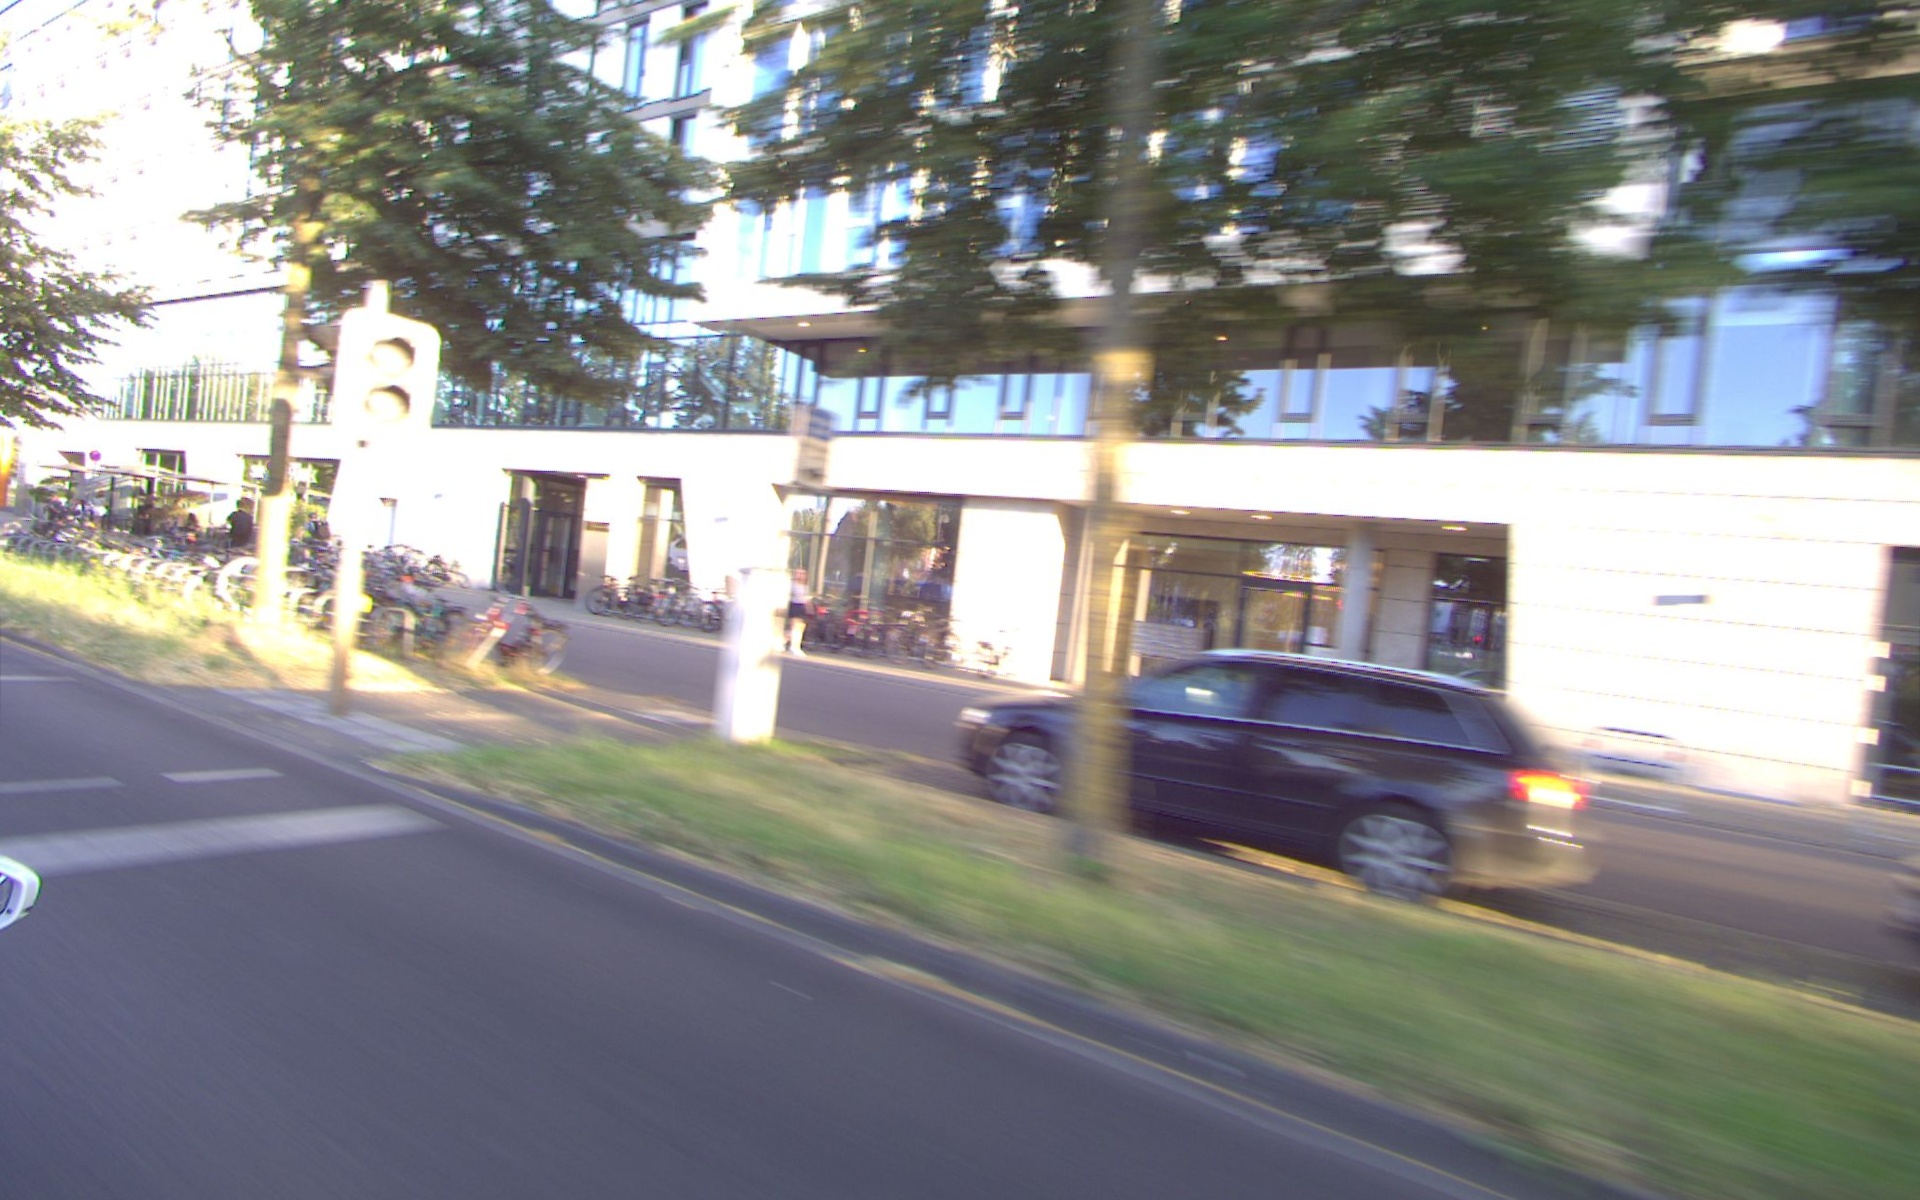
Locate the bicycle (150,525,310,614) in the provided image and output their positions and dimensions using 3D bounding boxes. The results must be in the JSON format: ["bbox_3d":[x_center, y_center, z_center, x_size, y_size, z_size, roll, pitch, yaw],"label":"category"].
[{"bbox_3d":[-11.270,-0.441,15.624,0.407,1.065,1.950,7,-3,24],"label":"bicycle"}]

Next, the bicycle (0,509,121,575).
[{"bbox_3d":[-17.392,-1.120,19.116,0.444,0.949,2.151,7,-3,25],"label":"bicycle"}]

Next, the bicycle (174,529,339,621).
[{"bbox_3d":[-10.339,-0.331,14.889,0.407,1.065,1.950,7,-3,24],"label":"bicycle"}]

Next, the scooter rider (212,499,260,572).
[{"bbox_3d":[-17.580,-1.554,24.418,0.818,1.659,0.526,7,1,30],"label":"scooter rider"}]

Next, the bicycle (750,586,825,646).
[{"bbox_3d":[-3.807,0.369,22.294,0.494,1.192,1.834,7,0,29],"label":"bicycle"}]

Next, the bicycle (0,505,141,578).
[{"bbox_3d":[-16.585,-1.065,18.624,0.435,0.983,2.152,7,-3,24],"label":"bicycle"}]

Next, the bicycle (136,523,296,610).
[{"bbox_3d":[-11.784,-0.507,16.021,0.397,1.065,1.948,7,-3,29],"label":"bicycle"}]

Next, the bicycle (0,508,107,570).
[{"bbox_3d":[-18.235,-1.229,19.783,0.435,0.949,2.151,7,-3,25],"label":"bicycle"}]

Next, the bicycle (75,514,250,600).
[{"bbox_3d":[-13.243,-0.686,16.804,0.561,1.065,2.151,7,-3,25],"label":"bicycle"}]

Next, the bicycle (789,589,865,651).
[{"bbox_3d":[-2.847,0.453,21.684,0.438,1.192,1.832,7,0,32],"label":"bicycle"}]

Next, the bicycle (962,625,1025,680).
[{"bbox_3d":[0.677,1.043,19.711,0.397,0.999,1.577,7,0,32],"label":"bicycle"}]

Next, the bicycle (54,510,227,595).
[{"bbox_3d":[-13.915,-0.777,17.166,0.552,1.065,2.151,7,-3,25],"label":"bicycle"}]

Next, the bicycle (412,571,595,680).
[{"bbox_3d":[-5.490,0.349,12.245,0.536,1.065,1.947,7,-3,31],"label":"bicycle"}]

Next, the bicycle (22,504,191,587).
[{"bbox_3d":[-14.965,-0.921,17.725,0.515,1.065,2.151,7,-3,25],"label":"bicycle"}]

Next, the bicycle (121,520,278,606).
[{"bbox_3d":[-12.205,-0.561,16.229,0.397,1.065,1.950,7,-3,25],"label":"bicycle"}]

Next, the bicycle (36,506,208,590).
[{"bbox_3d":[-14.446,-0.860,17.430,0.561,1.065,2.151,7,-3,25],"label":"bicycle"}]

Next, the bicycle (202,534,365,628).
[{"bbox_3d":[-9.628,-0.234,14.426,0.309,1.065,1.950,7,-3,24],"label":"bicycle"}]

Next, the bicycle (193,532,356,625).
[{"bbox_3d":[-9.913,-0.274,14.643,0.341,1.065,1.950,7,-3,24],"label":"bicycle"}]

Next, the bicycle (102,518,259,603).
[{"bbox_3d":[-12.636,-0.609,16.389,0.397,1.065,1.950,7,-3,25],"label":"bicycle"}]

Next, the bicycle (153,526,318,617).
[{"bbox_3d":[-10.858,-0.390,15.166,0.407,1.065,1.950,7,-3,24],"label":"bicycle"}]

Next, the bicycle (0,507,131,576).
[{"bbox_3d":[-16.989,-1.102,18.856,0.435,0.949,2.151,7,-3,25],"label":"bicycle"}]

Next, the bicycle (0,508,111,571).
[{"bbox_3d":[-18.564,-1.242,20.236,0.536,0.949,2.151,7,-3,25],"label":"bicycle"}]

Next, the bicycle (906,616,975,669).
[{"bbox_3d":[-0.376,0.874,20.376,0.397,0.964,1.745,7,0,32],"label":"bicycle"}]

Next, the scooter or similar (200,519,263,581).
[{"bbox_3d":[-17.755,-1.221,24.499,1.636,1.327,0.526,7,1,30],"label":"scooter or similar"}]

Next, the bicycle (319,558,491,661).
[{"bbox_3d":[-6.936,0.162,12.713,0.535,1.065,1.952,8,-3,17],"label":"bicycle"}]

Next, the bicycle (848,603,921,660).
[{"bbox_3d":[-1.553,0.677,20.985,0.397,1.070,1.832,7,0,32],"label":"bicycle"}]

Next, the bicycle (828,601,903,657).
[{"bbox_3d":[-1.969,0.626,21.217,0.438,1.060,1.832,7,0,32],"label":"bicycle"}]

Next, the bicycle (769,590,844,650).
[{"bbox_3d":[-3.339,0.454,21.981,0.494,1.192,1.834,7,0,29],"label":"bicycle"}]

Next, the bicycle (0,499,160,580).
[{"bbox_3d":[-15.837,-1.055,18.166,0.295,1.065,2.151,7,-3,25],"label":"bicycle"}]

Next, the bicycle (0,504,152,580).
[{"bbox_3d":[-16.187,-1.037,18.367,0.435,0.997,2.151,7,-3,25],"label":"bicycle"}]

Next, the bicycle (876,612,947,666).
[{"bbox_3d":[-0.973,0.825,20.738,0.397,0.999,1.832,7,0,32],"label":"bicycle"}]

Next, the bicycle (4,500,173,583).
[{"bbox_3d":[-15.469,-1.009,17.937,0.515,1.065,2.151,7,-3,25],"label":"bicycle"}]

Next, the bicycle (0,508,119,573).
[{"bbox_3d":[-17.674,-1.159,19.409,0.435,0.949,2.151,7,-3,25],"label":"bicycle"}]

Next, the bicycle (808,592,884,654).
[{"bbox_3d":[-2.406,0.513,21.454,0.438,1.192,1.832,7,0,32],"label":"bicycle"}]
